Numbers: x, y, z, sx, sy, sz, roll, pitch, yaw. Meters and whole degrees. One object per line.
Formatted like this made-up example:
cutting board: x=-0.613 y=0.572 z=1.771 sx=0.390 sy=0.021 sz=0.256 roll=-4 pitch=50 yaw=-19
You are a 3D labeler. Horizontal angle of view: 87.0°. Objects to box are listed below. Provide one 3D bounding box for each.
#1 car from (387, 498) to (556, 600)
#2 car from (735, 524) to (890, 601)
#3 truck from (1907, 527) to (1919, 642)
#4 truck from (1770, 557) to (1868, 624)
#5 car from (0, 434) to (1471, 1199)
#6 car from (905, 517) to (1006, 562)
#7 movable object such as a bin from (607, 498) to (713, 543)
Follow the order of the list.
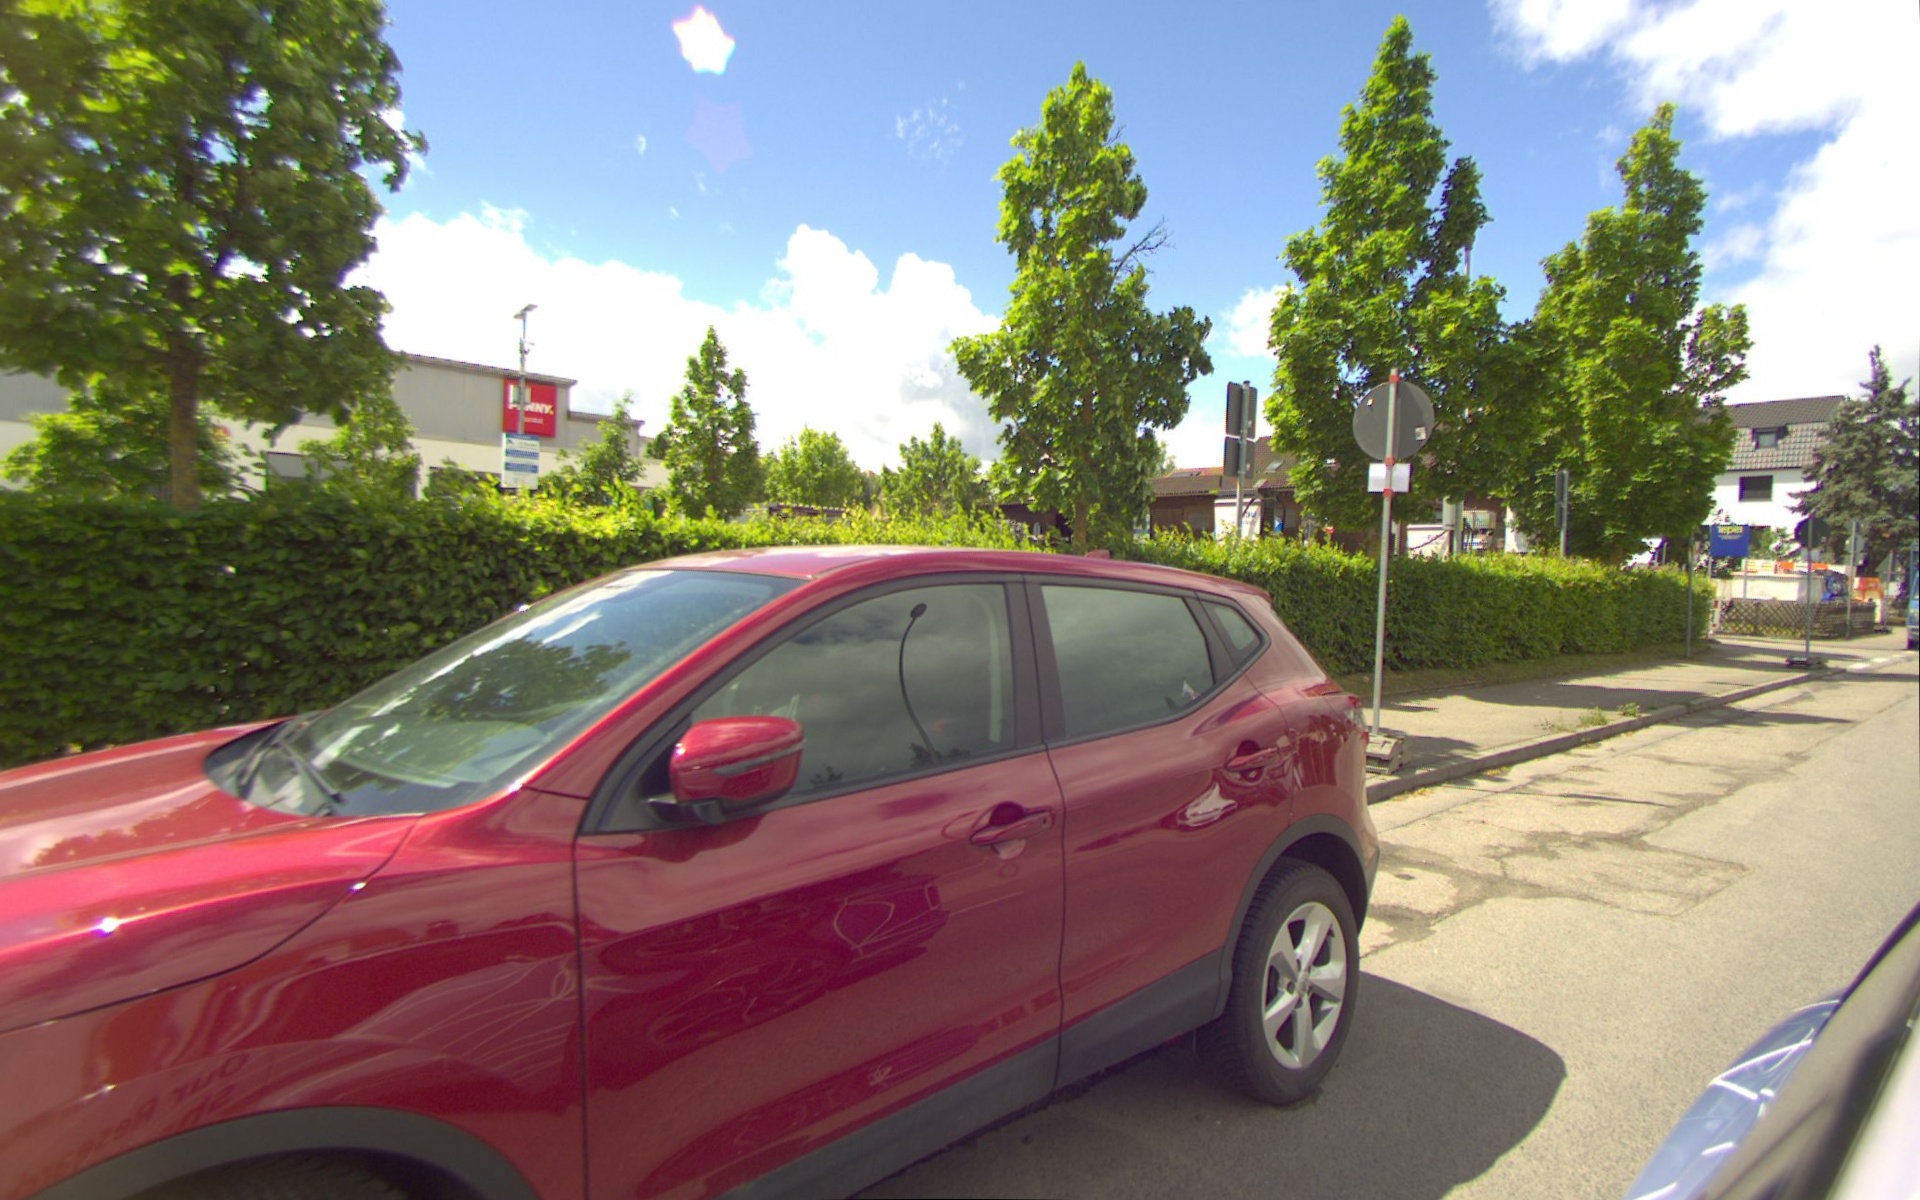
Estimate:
car: x=-9.628 y=-0.892 z=19.809 sx=1.966 sy=1.728 sz=3.992 roll=1 pitch=-1 yaw=-42
car: x=-3.725 y=-0.857 z=25.165 sx=1.966 sy=1.728 sz=3.992 roll=1 pitch=-1 yaw=-42
truck: x=29.143 y=-0.422 z=28.983 sx=5.936 sy=3.136 sz=2.324 roll=0 pitch=-1 yaw=-41
truck: x=30.686 y=-0.298 z=36.077 sx=5.292 sy=2.107 sz=1.833 roll=2 pitch=3 yaw=-42
car: x=-0.683 y=0.583 z=2.642 sx=4.365 sy=1.591 sz=1.947 roll=0 pitch=2 yaw=-39
car: x=-0.158 y=-2.428 z=41.307 sx=3.927 sy=1.605 sz=1.750 roll=0 pitch=-1 yaw=-39
movable object such as a bin: x=-22.404 y=-5.856 z=75.663 sx=6.578 sy=2.797 sz=3.936 roll=0 pitch=-1 yaw=-41
